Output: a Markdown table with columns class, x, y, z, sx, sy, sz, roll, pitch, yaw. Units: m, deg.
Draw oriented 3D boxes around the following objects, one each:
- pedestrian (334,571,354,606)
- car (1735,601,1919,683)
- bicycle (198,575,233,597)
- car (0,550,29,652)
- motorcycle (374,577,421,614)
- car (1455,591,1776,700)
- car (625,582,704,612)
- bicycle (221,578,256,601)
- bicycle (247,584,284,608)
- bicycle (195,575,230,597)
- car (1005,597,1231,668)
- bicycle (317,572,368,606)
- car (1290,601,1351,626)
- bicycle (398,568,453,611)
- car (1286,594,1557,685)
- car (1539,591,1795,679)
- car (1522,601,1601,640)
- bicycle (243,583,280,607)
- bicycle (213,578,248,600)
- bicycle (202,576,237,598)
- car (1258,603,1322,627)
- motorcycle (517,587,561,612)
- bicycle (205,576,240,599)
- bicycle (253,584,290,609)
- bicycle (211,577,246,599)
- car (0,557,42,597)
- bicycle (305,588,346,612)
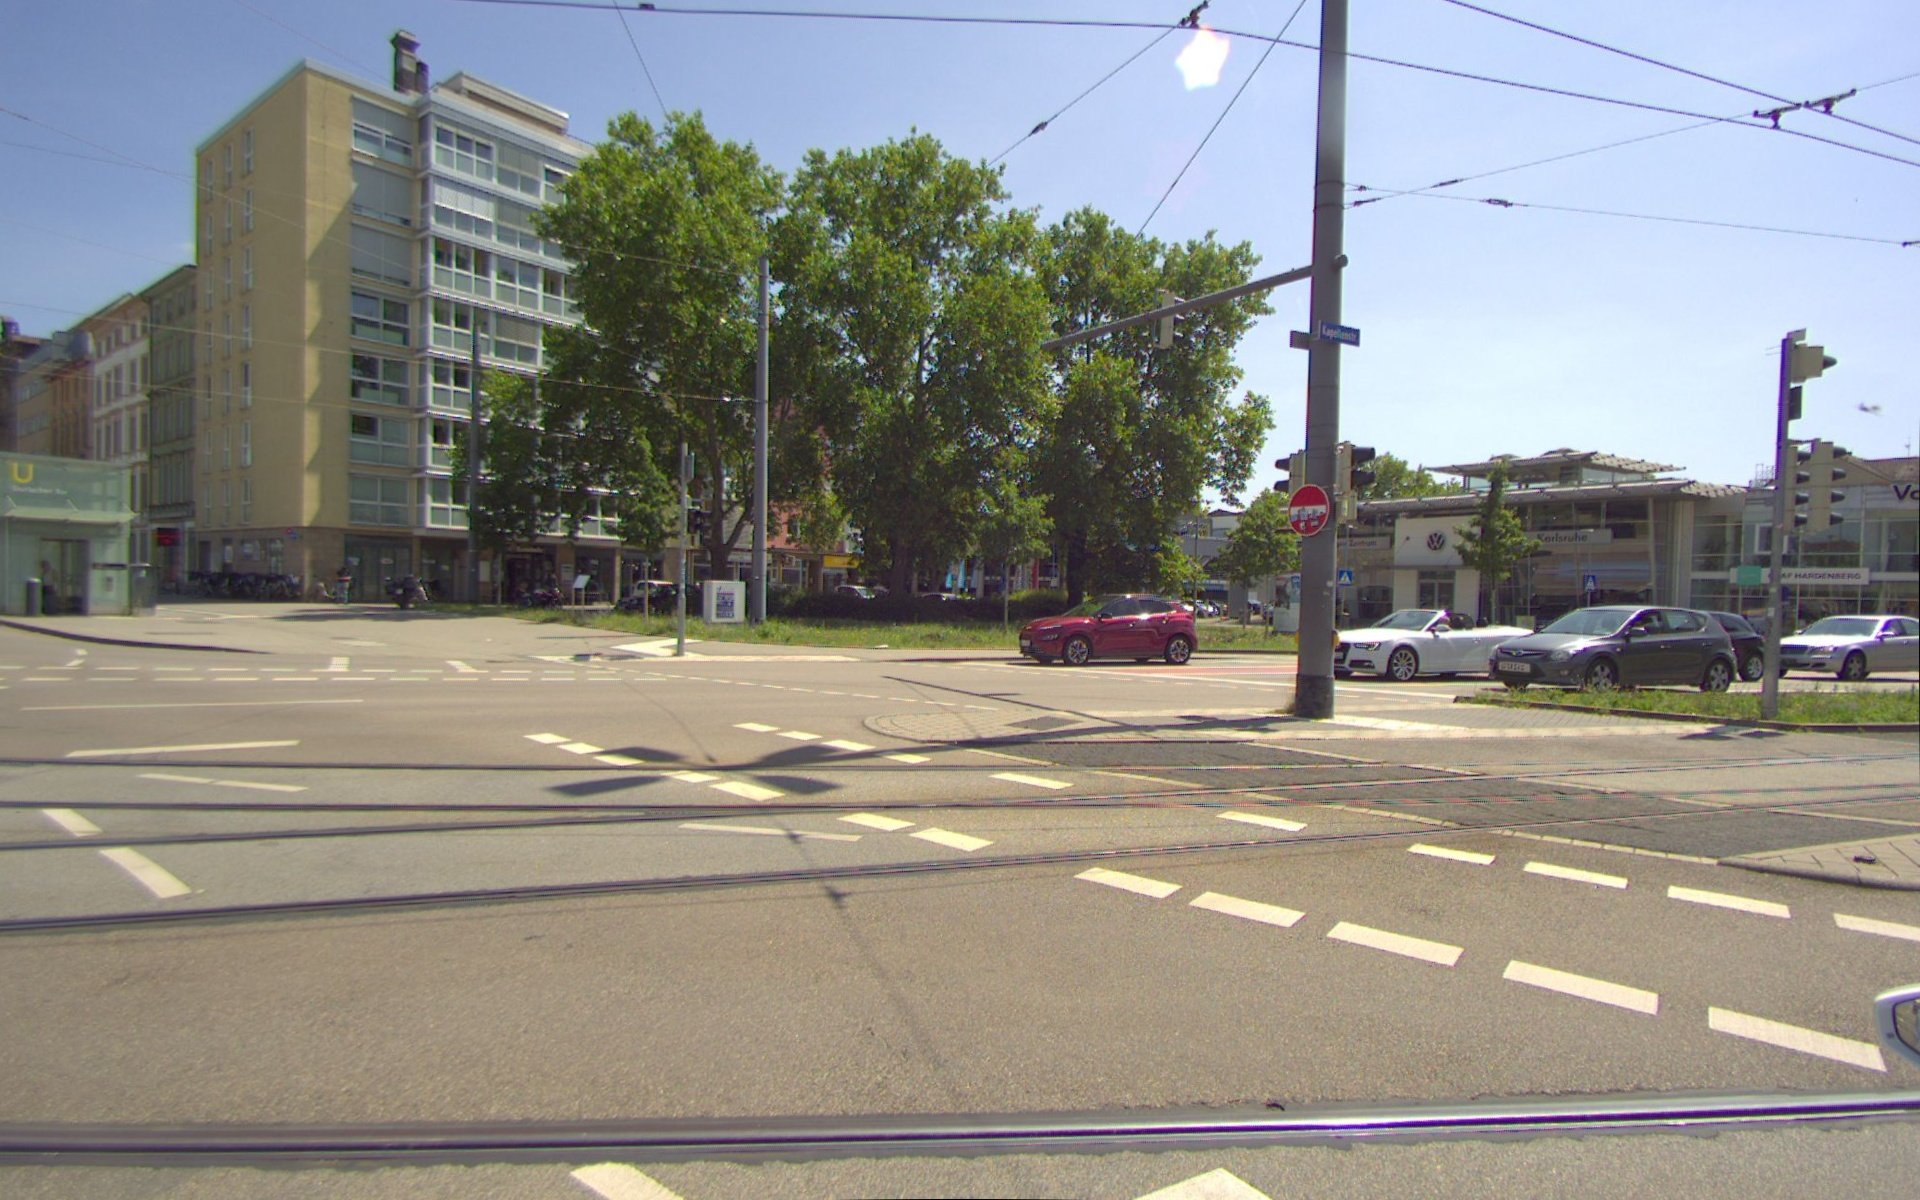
| class | x | y | z | sx | sy | sz | roll | pitch | yaw |
| --- | --- | --- | --- | --- | --- | --- | --- | --- | --- |
| pedestrian | -26.491 | -0.484 | 43.207 | 0.678 | 1.506 | 0.301 | 1 | 1 | -45 |
| car | 20.901 | 0.978 | 23.648 | 4.471 | 1.763 | 1.992 | 1 | 1 | -18 |
| bicycle | -36.250 | -0.661 | 48.932 | 0.424 | 1.040 | 1.445 | 2 | 1 | 11 |
| car | -16.053 | 0.061 | 15.105 | 1.781 | 1.662 | 4.769 | 1 | 2 | -28 |
| motorcycle | -19.871 | -0.186 | 35.521 | 0.950 | 1.238 | 2.799 | 1 | 1 | -19 |
| car | 11.116 | 0.739 | 17.088 | 4.769 | 1.659 | 1.992 | 1 | 1 | -18 |
| car | -15.518 | -0.179 | 52.712 | 3.934 | 1.439 | 1.993 | 2 | 1 | 36 |
| bicycle | -34.056 | -0.487 | 47.422 | 0.424 | 1.040 | 1.445 | 2 | 1 | 11 |
| bicycle | -30.556 | -0.186 | 44.233 | 0.424 | 1.040 | 1.445 | 2 | 1 | 11 |
| bicycle | -36.618 | -0.692 | 49.240 | 0.424 | 1.040 | 1.445 | 2 | 1 | 11 |
| car | 3.617 | 0.732 | 23.053 | 4.774 | 1.485 | 1.990 | 1 | 1 | -21 |
| bicycle | -26.569 | -0.451 | 43.249 | 0.597 | 1.135 | 1.597 | 2 | -10 | 43 |
| car | 23.204 | 0.873 | 64.538 | 4.290 | 1.530 | 1.752 | 1 | 1 | -40 |
| bicycle | -23.572 | -0.465 | 44.278 | 2.845 | 1.790 | 1.095 | 2 | 1 | 39 |
| car | 9.035 | 0.746 | 19.695 | 4.774 | 1.601 | 2.073 | 1 | 1 | -21 |
| car | 15.109 | 0.742 | 21.496 | 4.769 | 1.723 | 1.992 | 1 | 1 | -18 |
| car | 30.649 | 1.049 | 51.185 | 3.959 | 1.730 | 1.908 | 2 | 2 | -34 |
| bicycle | -30.954 | -0.218 | 44.510 | 0.424 | 1.040 | 1.445 | 2 | 1 | 11 |
| bicycle | -34.593 | -0.525 | 47.635 | 0.424 | 1.040 | 1.445 | 2 | 1 | 11 |
| bicycle | -35.789 | -0.623 | 48.535 | 0.424 | 1.040 | 1.445 | 2 | 1 | 11 |
| car | 22.013 | 0.999 | 66.993 | 4.282 | 1.530 | 1.756 | 1 | 1 | -34 |
| motorcycle | -16.900 | -0.021 | 40.308 | 1.884 | 0.974 | 0.525 | 2 | 1 | 26 |
| bicycle | -35.404 | -0.592 | 48.259 | 0.424 | 1.040 | 1.445 | 2 | 1 | 11 |
| bicycle | -30.167 | -0.156 | 44.001 | 0.424 | 1.040 | 1.445 | 2 | 1 | 11 |
| bicycle | -34.940 | -0.556 | 48.003 | 0.424 | 1.040 | 1.445 | 2 | 1 | 11 |
| car | -43.832 | -1.063 | 45.162 | 1.805 | 1.773 | 3.993 | 1 | 1 | -9 |
| bicycle | -27.741 | -0.008 | 43.944 | 0.426 | 1.040 | 1.437 | 2 | 1 | 39 |
